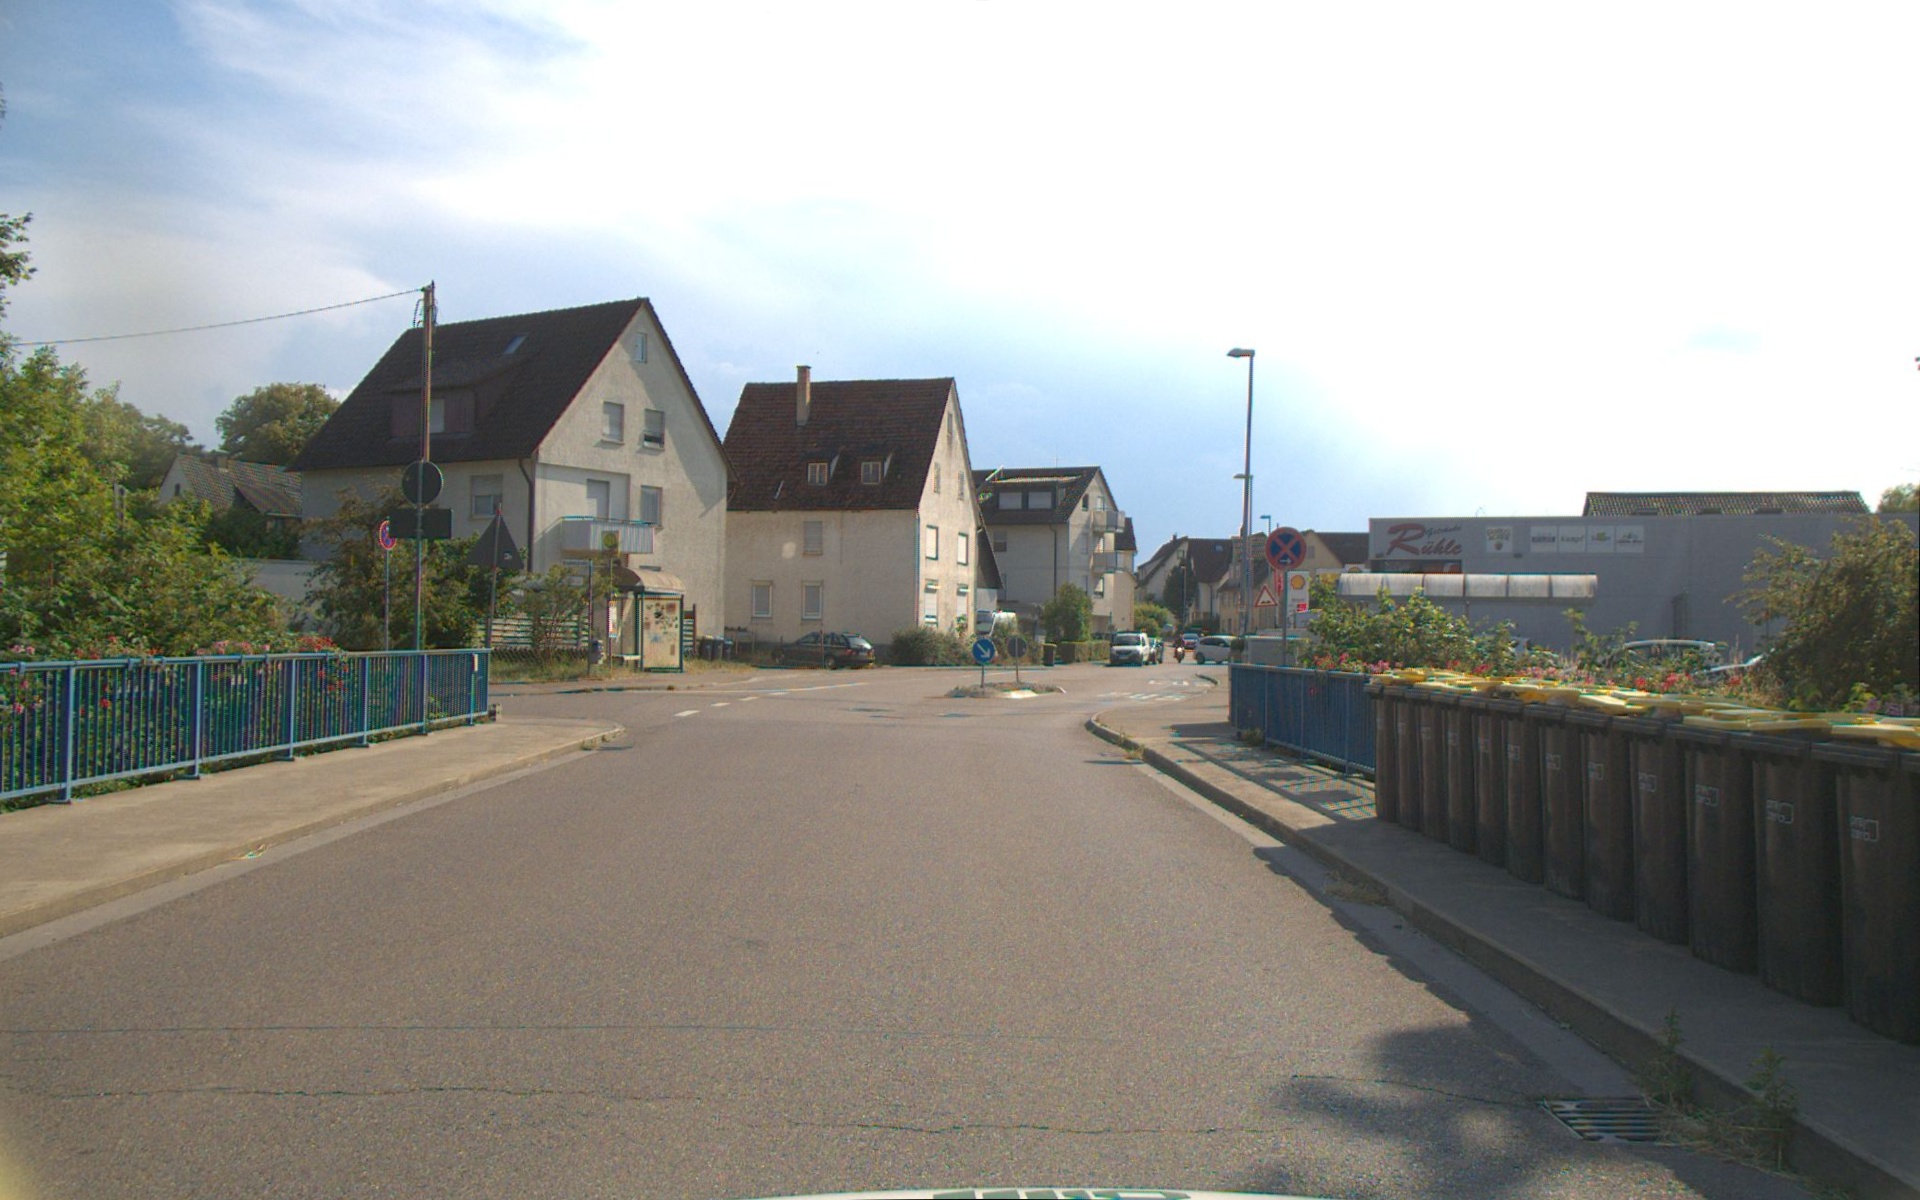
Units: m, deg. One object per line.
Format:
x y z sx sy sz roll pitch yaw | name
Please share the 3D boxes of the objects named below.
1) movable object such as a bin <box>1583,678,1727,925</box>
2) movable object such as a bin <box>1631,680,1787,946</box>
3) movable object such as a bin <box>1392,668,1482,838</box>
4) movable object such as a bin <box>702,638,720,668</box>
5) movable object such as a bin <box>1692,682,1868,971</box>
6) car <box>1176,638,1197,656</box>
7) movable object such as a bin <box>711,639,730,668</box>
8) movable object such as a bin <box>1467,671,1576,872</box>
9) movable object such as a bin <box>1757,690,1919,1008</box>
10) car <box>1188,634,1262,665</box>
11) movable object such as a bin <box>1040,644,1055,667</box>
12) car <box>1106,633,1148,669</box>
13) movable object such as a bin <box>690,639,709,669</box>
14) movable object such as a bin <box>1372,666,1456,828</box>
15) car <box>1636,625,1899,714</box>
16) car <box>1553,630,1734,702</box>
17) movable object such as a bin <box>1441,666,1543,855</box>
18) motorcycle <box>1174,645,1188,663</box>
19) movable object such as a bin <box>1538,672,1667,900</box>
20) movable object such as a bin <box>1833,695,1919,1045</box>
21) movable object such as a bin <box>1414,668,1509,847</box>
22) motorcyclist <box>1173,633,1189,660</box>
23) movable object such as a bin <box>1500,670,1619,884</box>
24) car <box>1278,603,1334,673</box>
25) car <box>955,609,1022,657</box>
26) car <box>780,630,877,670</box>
3.434 0.978 8.206 0.469 1.163 0.564 0 -1 -1 | movable object such as a bin
3.445 0.962 7.637 0.469 1.163 0.538 0 -1 -1 | movable object such as a bin
3.372 1.069 11.718 0.469 1.163 0.538 0 -1 -1 | movable object such as a bin
-8.818 1.869 58.530 0.354 1.059 0.557 0 -3 30 | movable object such as a bin
3.468 0.938 7.028 0.469 1.163 0.538 0 -1 -1 | movable object such as a bin
19.141 3.937 139.659 1.672 1.460 3.782 0 -1 6 | car
-8.539 1.913 59.023 0.354 1.041 0.576 0 -3 30 | movable object such as a bin
3.380 1.020 9.982 0.469 1.163 0.538 0 -1 -1 | movable object such as a bin
3.473 0.942 6.439 0.469 1.163 0.538 0 -1 -1 | movable object such as a bin
15.149 2.828 94.710 1.978 1.636 3.949 2 -1 -36 | car
4.263 2.707 80.693 0.598 1.120 0.576 1 -2 14 | movable object such as a bin
9.128 2.779 90.254 1.680 1.905 4.195 -1 -1 14 | car
-9.137 1.906 58.026 0.354 1.034 0.557 0 -3 30 | movable object such as a bin
3.377 1.081 12.319 0.469 1.163 0.538 0 -1 -1 | movable object such as a bin
14.065 1.208 29.015 3.855 1.474 1.683 0 -2 14 | car
14.230 1.391 34.623 3.365 1.442 1.499 -1 -2 18 | car
3.389 1.012 10.567 0.469 1.163 0.538 0 -1 -1 | movable object such as a bin
13.152 3.229 98.499 0.527 1.030 2.029 2 -1 16 | motorcycle
3.418 0.972 8.820 0.469 1.163 0.538 0 -1 -1 | movable object such as a bin
3.484 0.933 5.877 0.469 1.163 0.538 0 -1 -1 | movable object such as a bin
3.373 1.045 11.147 0.469 1.163 0.538 0 -1 -1 | movable object such as a bin
13.144 2.766 98.409 0.721 1.553 1.017 3 -2 15 | motorcyclist
3.399 0.987 9.400 0.469 1.163 0.538 0 -1 -1 | movable object such as a bin
12.498 1.362 59.889 1.797 2.417 5.182 0 -1 10 | car
1.669 1.901 95.230 2.113 2.641 6.096 1 -1 18 | car
-5.360 2.012 67.028 3.928 1.458 1.643 1 -1 42 | car
